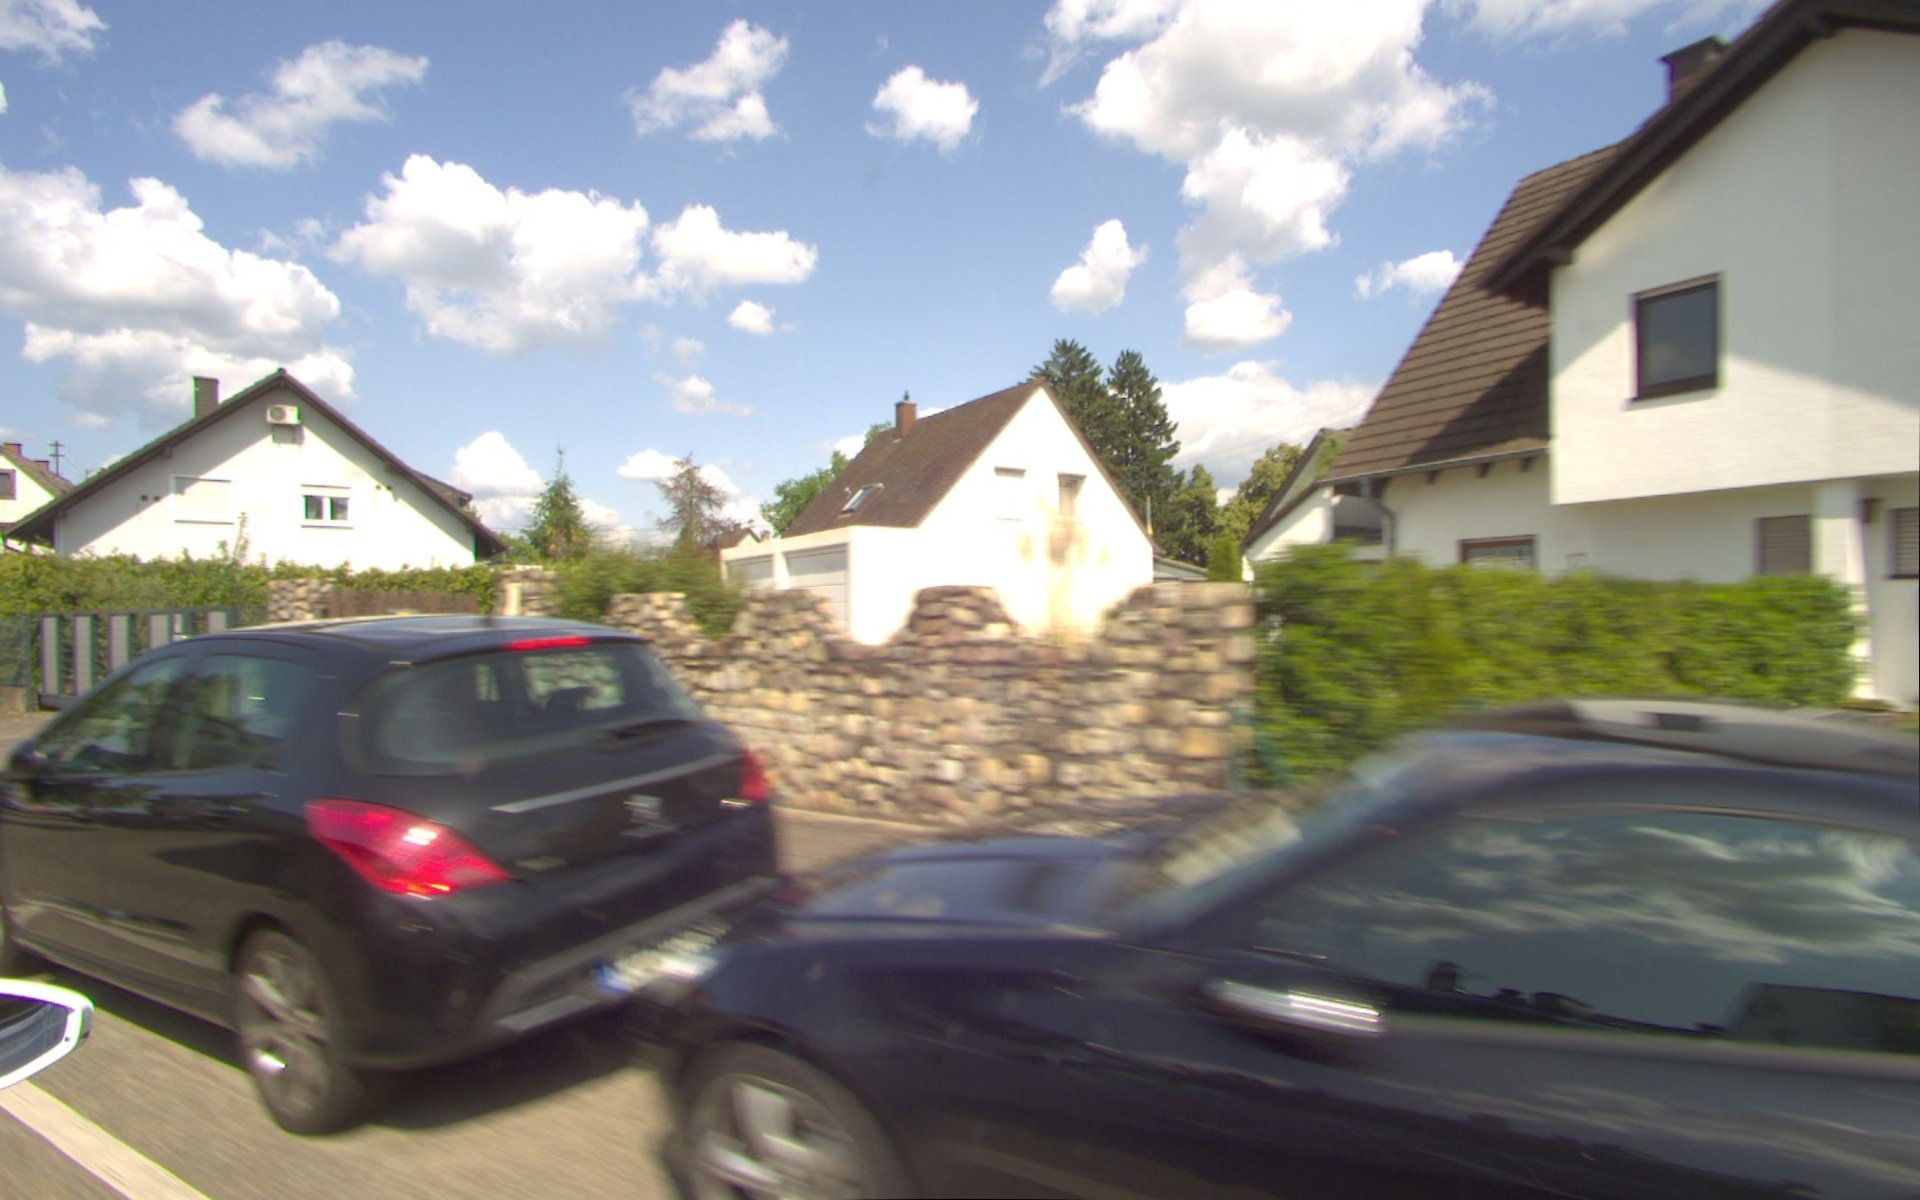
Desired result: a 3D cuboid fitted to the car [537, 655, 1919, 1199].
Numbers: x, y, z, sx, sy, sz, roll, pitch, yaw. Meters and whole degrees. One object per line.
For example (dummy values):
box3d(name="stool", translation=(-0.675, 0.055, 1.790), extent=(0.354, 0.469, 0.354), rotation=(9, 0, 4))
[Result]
box3d(name="car", translation=(1.027, 0.861, 2.171), extent=(3.907, 1.335, 1.706), rotation=(0, -1, 33))

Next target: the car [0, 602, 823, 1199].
box3d(name="car", translation=(-2.740, 0.815, 4.315), extent=(4.060, 1.571, 1.741), rotation=(-1, 0, 30))
